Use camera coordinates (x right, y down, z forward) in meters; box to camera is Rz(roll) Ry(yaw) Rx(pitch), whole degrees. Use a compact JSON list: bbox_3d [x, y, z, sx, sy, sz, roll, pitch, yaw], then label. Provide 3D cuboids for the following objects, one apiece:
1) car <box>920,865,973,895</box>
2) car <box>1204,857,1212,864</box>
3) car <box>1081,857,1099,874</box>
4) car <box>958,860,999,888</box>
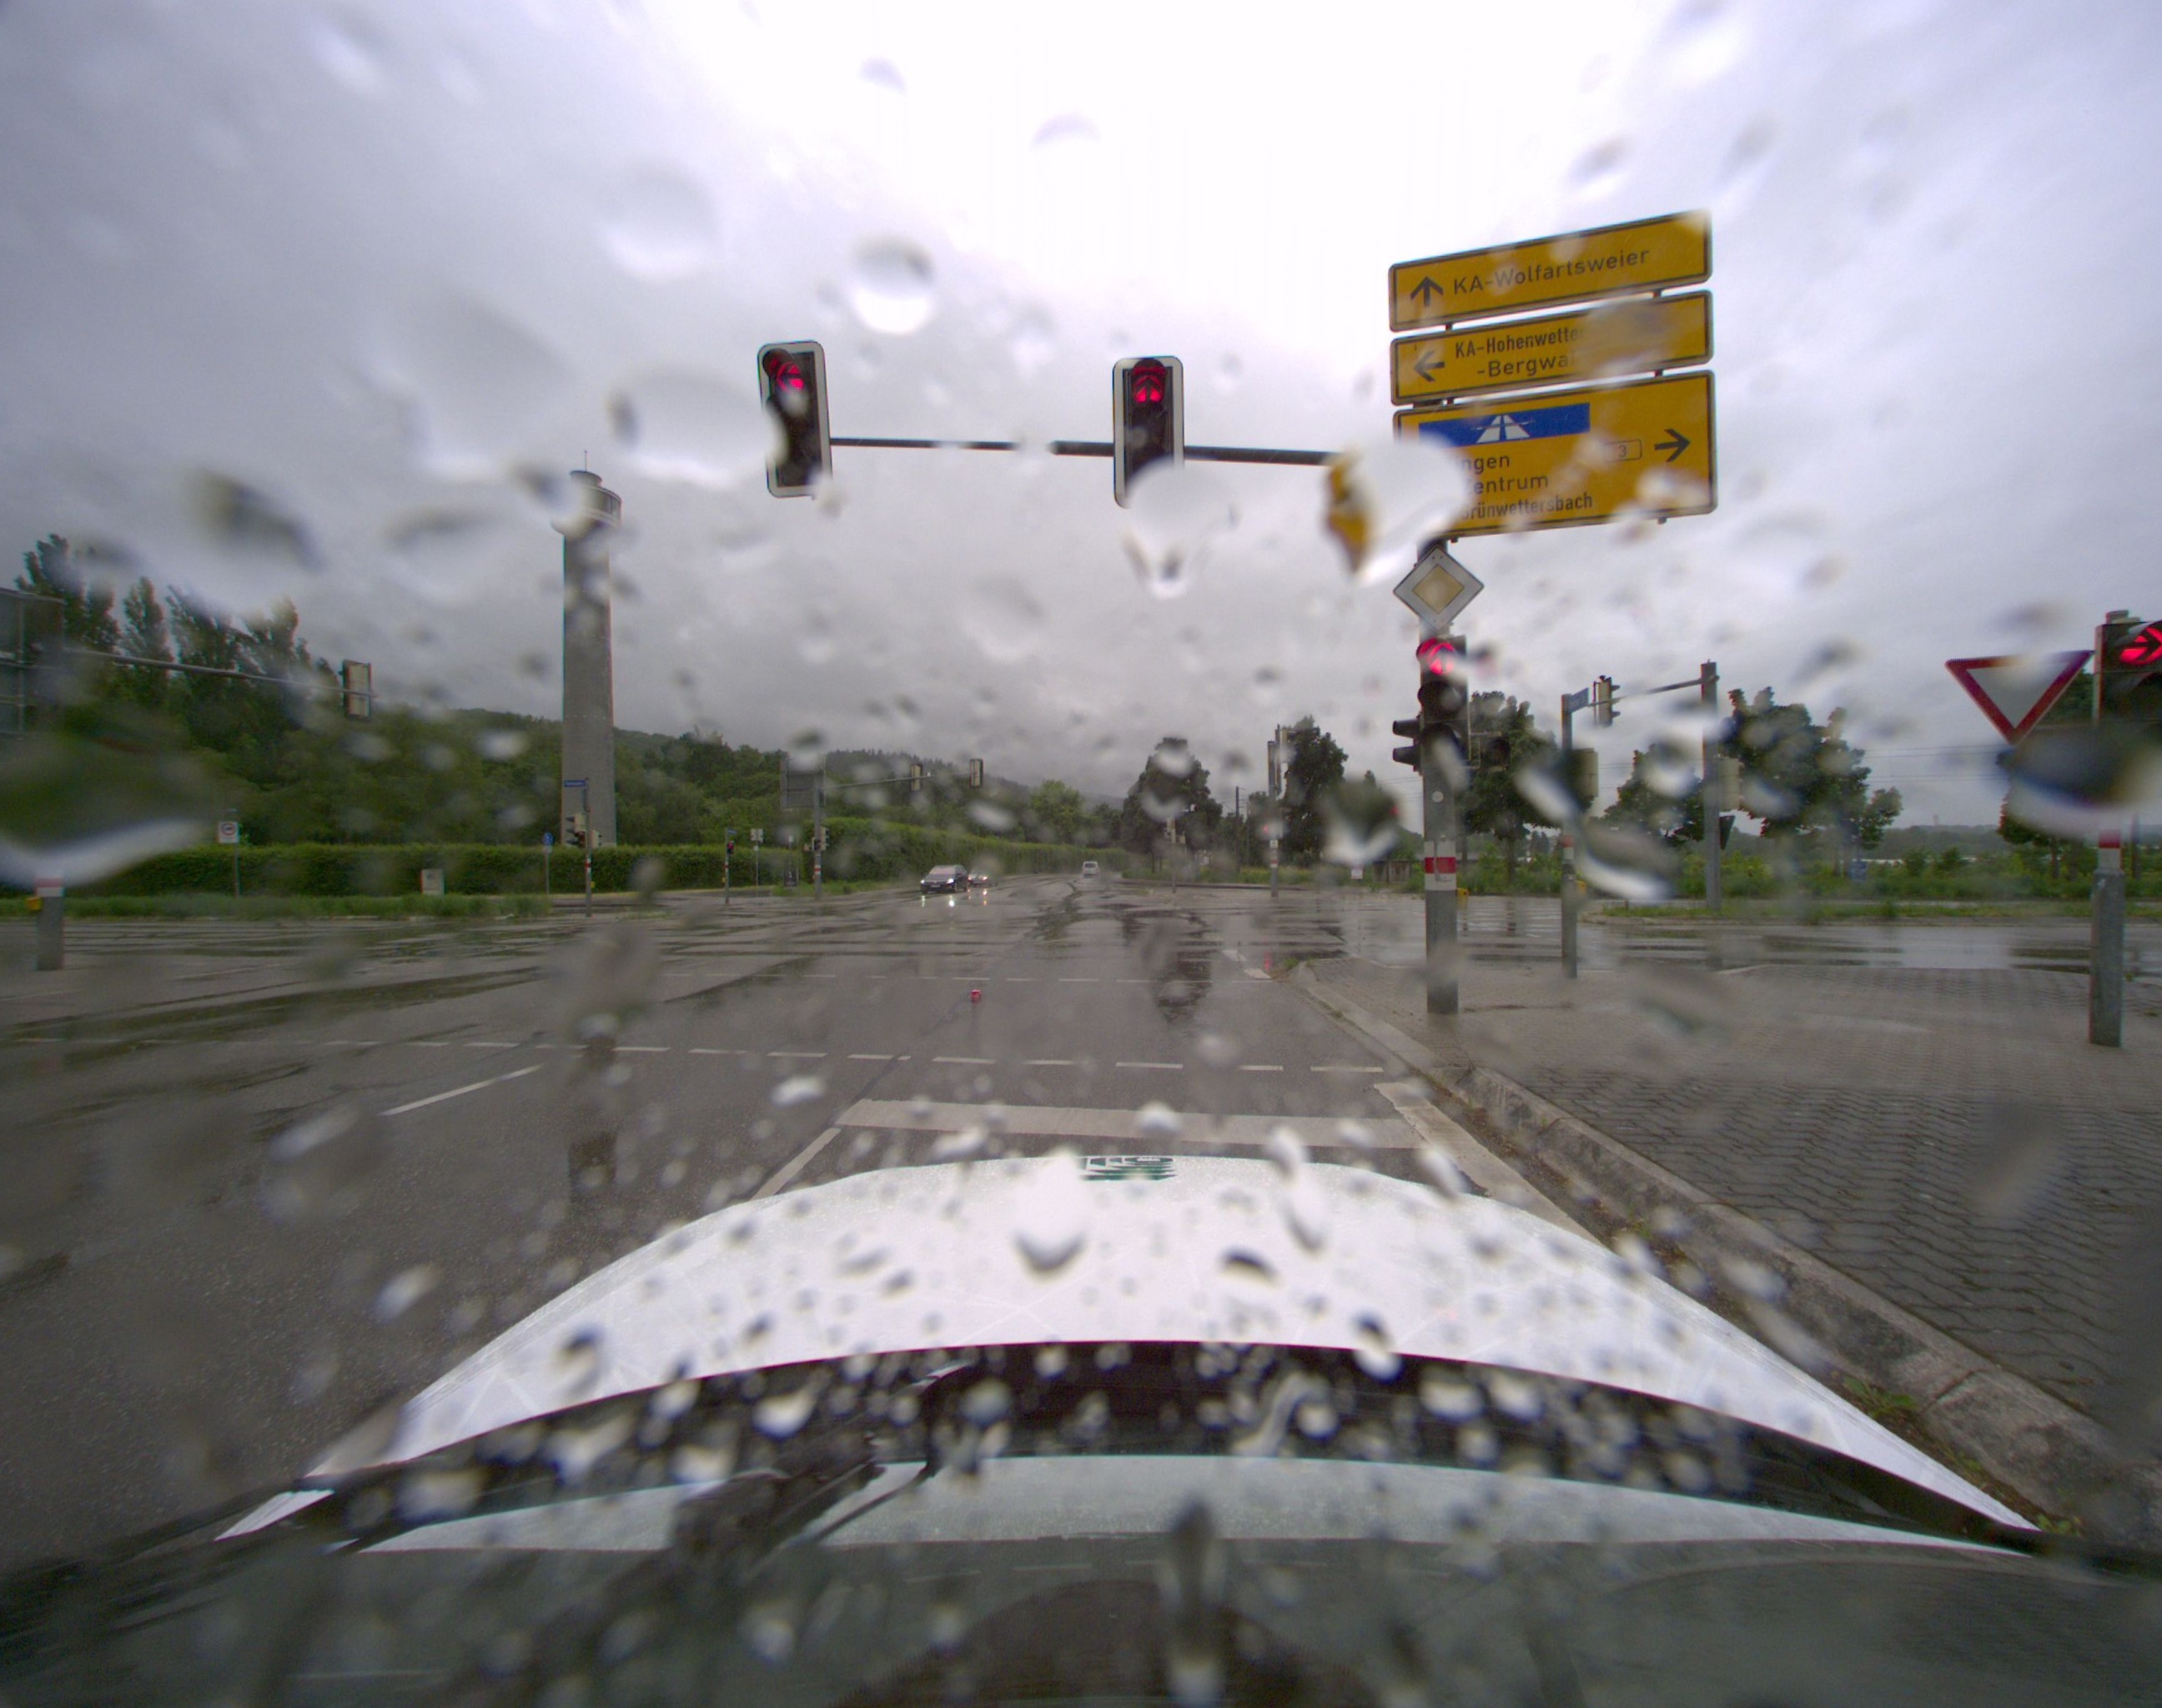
[{"bbox_3d":[-7.152,1.370,43.741,1.700,1.466,4.458,-1,0,5],"label":"car"},{"bbox_3d":[36.058,1.950,231.144,1.917,1.890,4.079,-1,0,16],"label":"car"},{"bbox_3d":[1.051,1.291,93.662,1.947,1.904,4.119,-1,0,0],"label":"car"},{"bbox_3d":[-6.760,1.304,54.085,2.029,1.708,4.067,-1,0,2],"label":"car"}]
